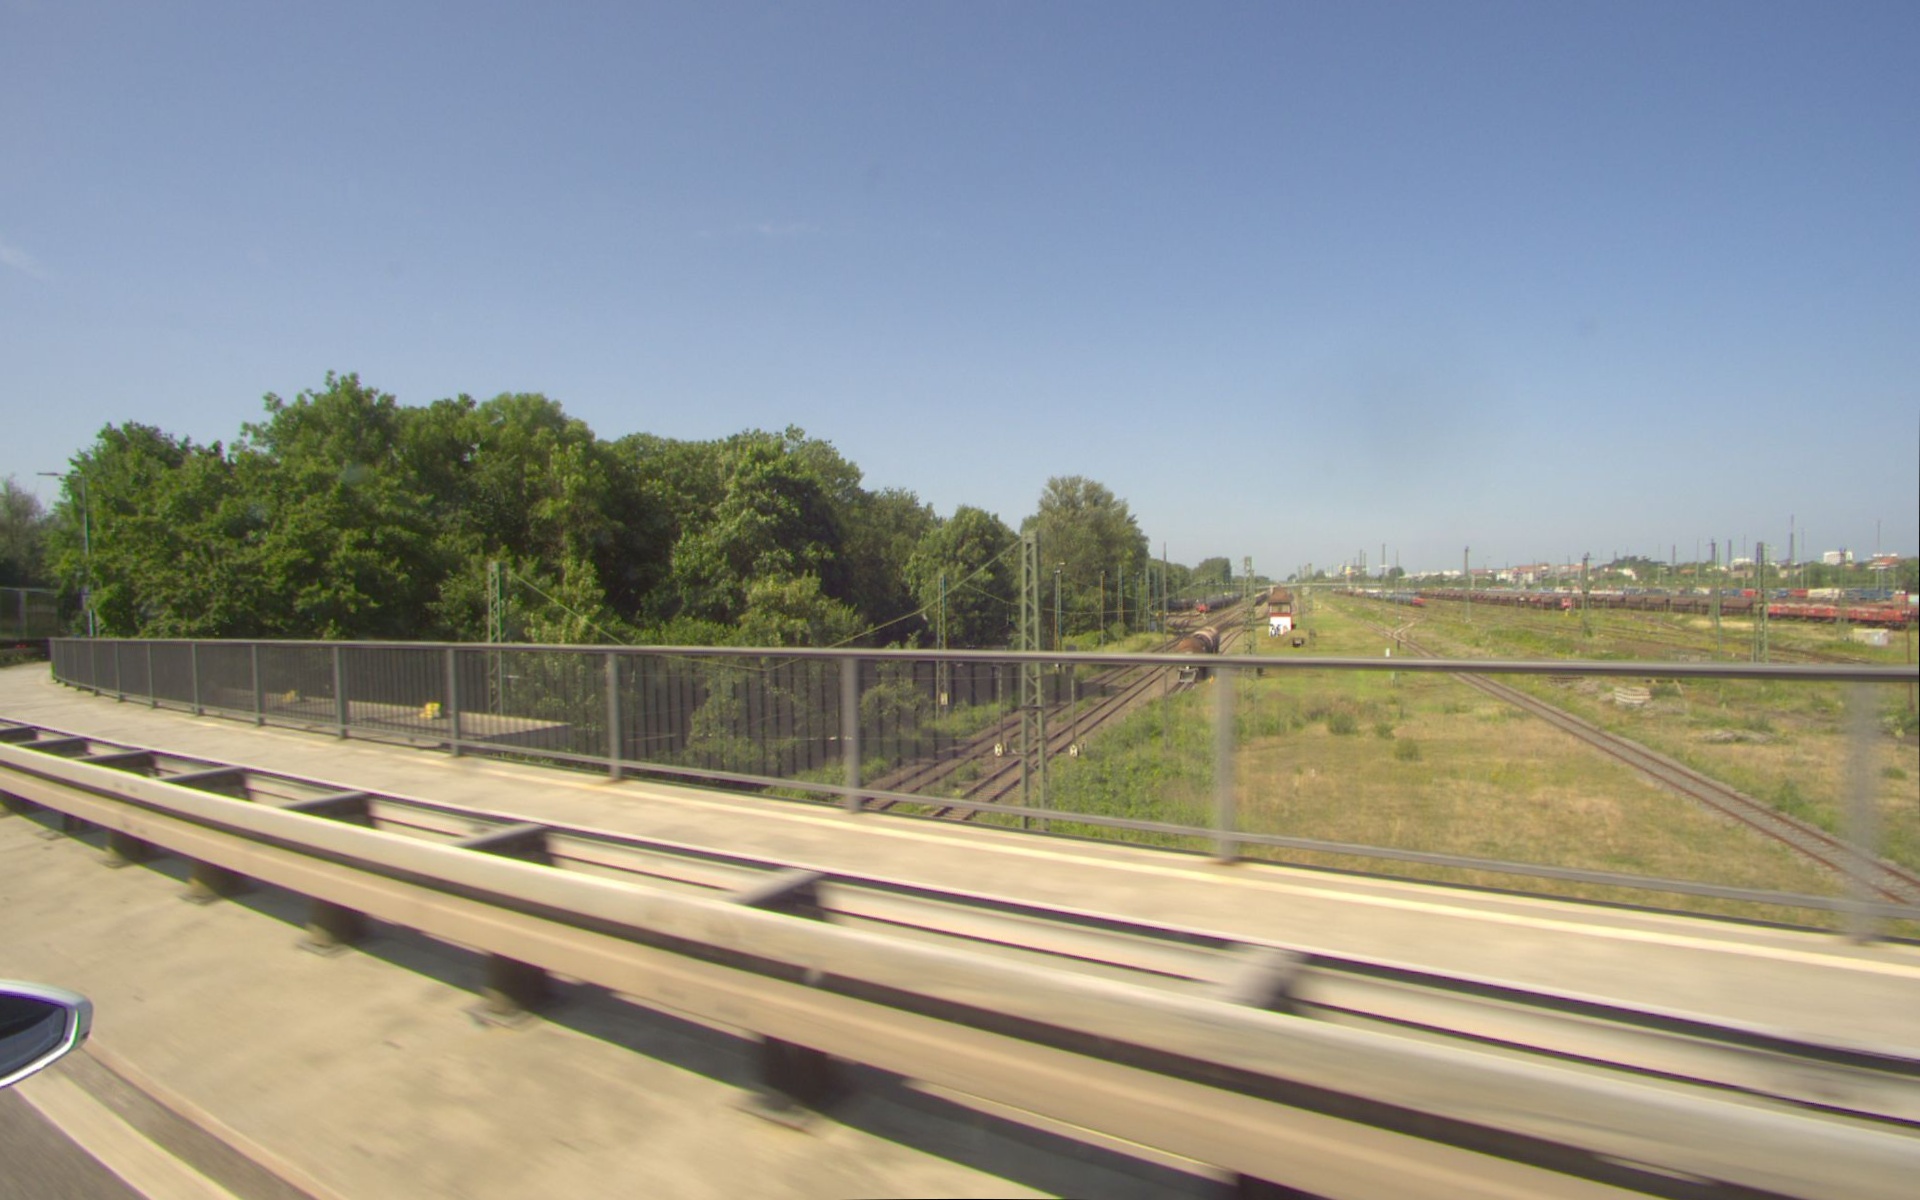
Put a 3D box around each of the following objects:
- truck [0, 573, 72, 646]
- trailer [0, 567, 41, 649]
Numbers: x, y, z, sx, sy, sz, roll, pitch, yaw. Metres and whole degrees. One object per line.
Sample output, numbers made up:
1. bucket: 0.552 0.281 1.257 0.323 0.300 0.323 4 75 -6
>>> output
1. truck: -52.628 0.561 55.941 3.229 3.805 8.318 3 -3 -34
2. trailer: -48.166 0.377 49.154 3.194 3.805 7.776 3 -3 -34
